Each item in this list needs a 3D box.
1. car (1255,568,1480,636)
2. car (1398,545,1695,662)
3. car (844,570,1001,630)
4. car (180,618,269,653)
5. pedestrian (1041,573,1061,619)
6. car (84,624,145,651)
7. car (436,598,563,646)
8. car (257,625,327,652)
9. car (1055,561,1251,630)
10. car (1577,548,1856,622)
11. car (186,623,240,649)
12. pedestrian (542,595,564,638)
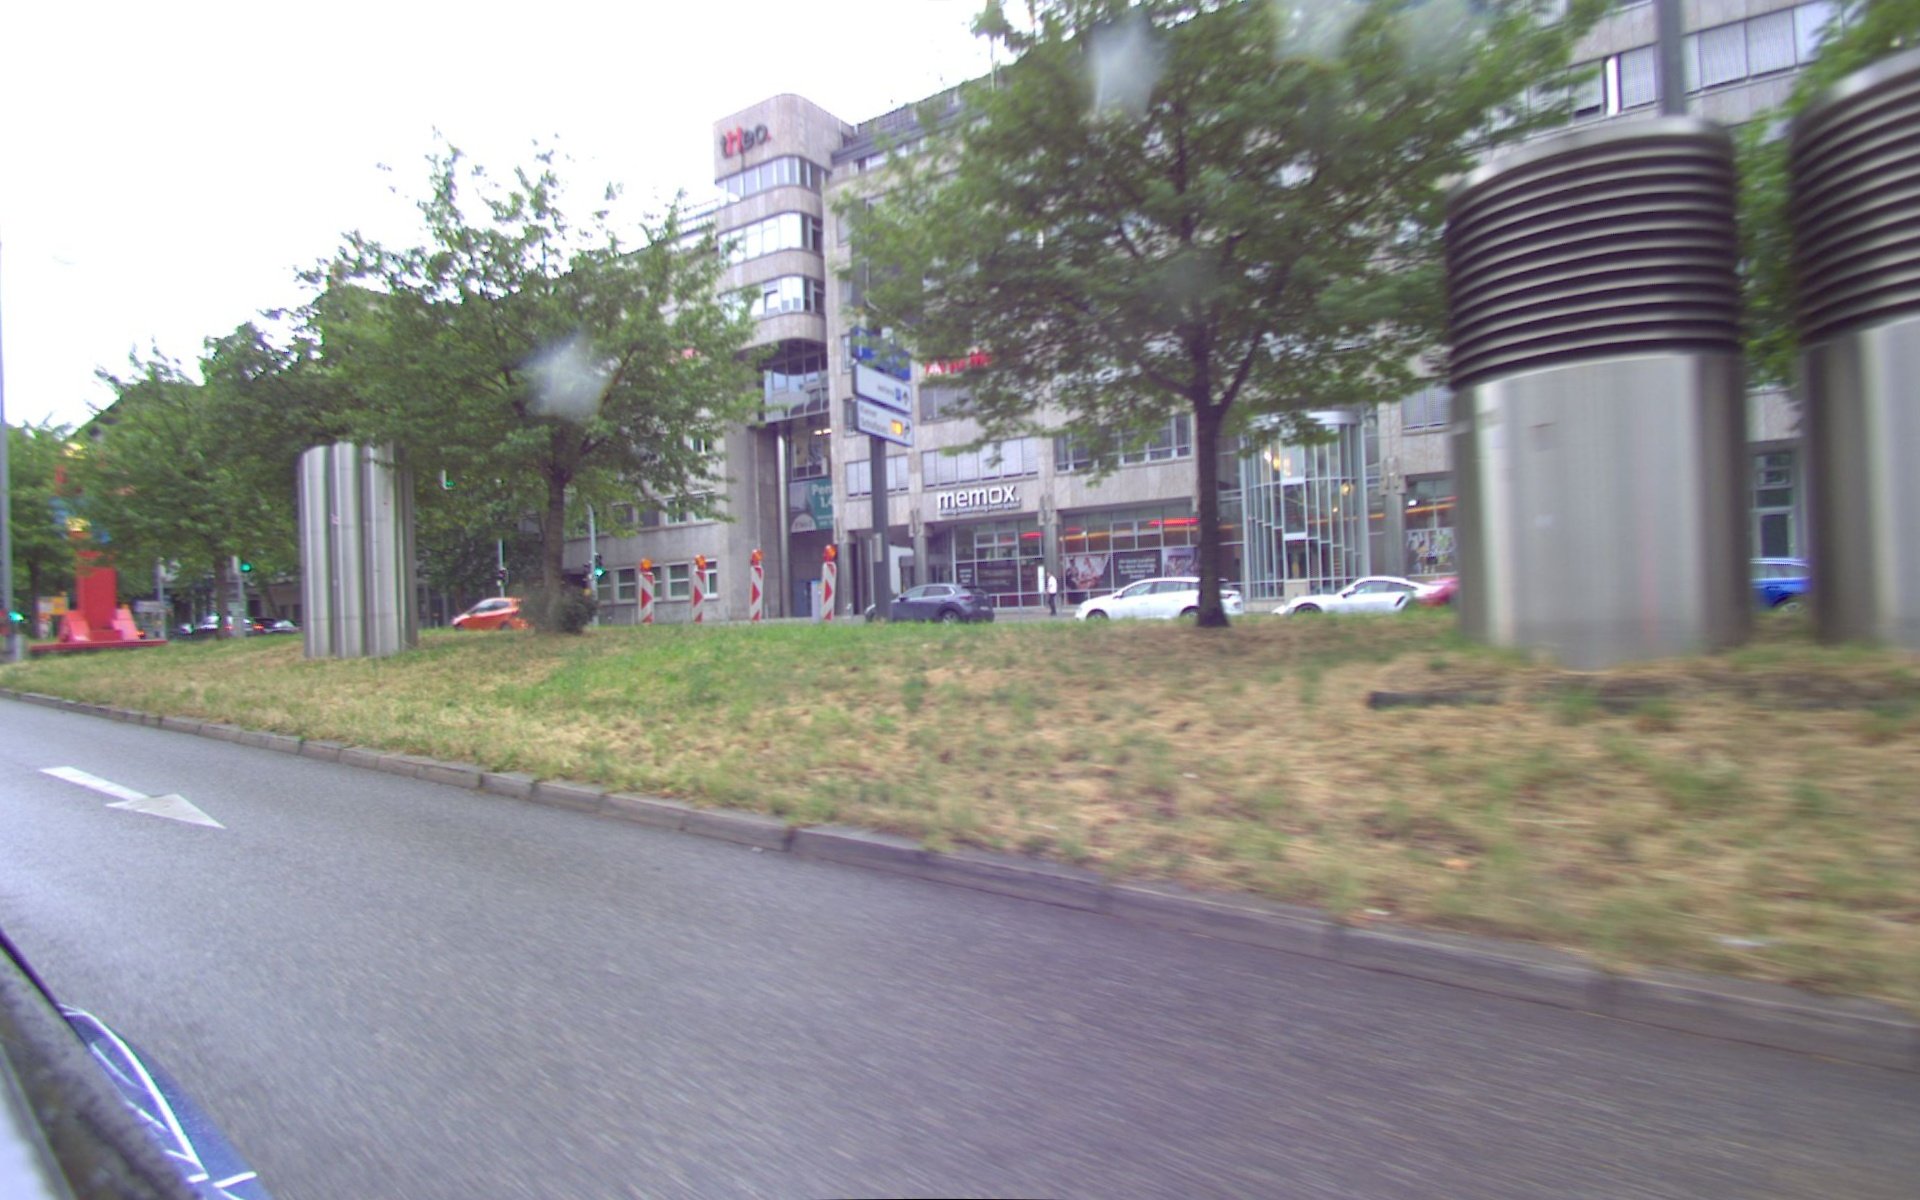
[{"bbox_3d":[9.641,0.090,24.128,4.675,1.412,1.760,-2,-1,36],"label":"car"},{"bbox_3d":[9.513,0.084,16.691,3.985,1.713,1.931,-2,0,31],"label":"car"},{"bbox_3d":[-1.232,0.031,31.746,4.783,1.738,1.845,-2,0,36],"label":"car"},{"bbox_3d":[-32.965,1.610,45.325,4.555,1.440,1.846,-2,-1,35],"label":"car"},{"bbox_3d":[3.702,-0.161,41.014,0.526,1.801,0.715,-2,0,24],"label":"pedestrian"},{"bbox_3d":[-46.988,2.080,56.251,3.993,1.425,1.773,-2,-2,37],"label":"car"},{"bbox_3d":[-14.898,0.718,32.679,4.121,1.440,1.846,-2,-1,34],"label":"car"},{"bbox_3d":[-37.954,2.197,57.488,4.557,1.440,1.845,-2,-1,36],"label":"car"},{"bbox_3d":[5.123,-0.084,27.276,4.903,1.634,1.760,-2,-1,36],"label":"car"},{"bbox_3d":[15.517,-0.266,21.126,4.462,1.335,1.877,-2,0,33],"label":"car"},{"bbox_3d":[-46.542,2.258,63.015,3.685,1.514,1.671,-2,-1,36],"label":"car"},{"bbox_3d":[-17.185,0.689,42.747,0.721,1.801,0.522,-2,0,40],"label":"pedestrian"}]
